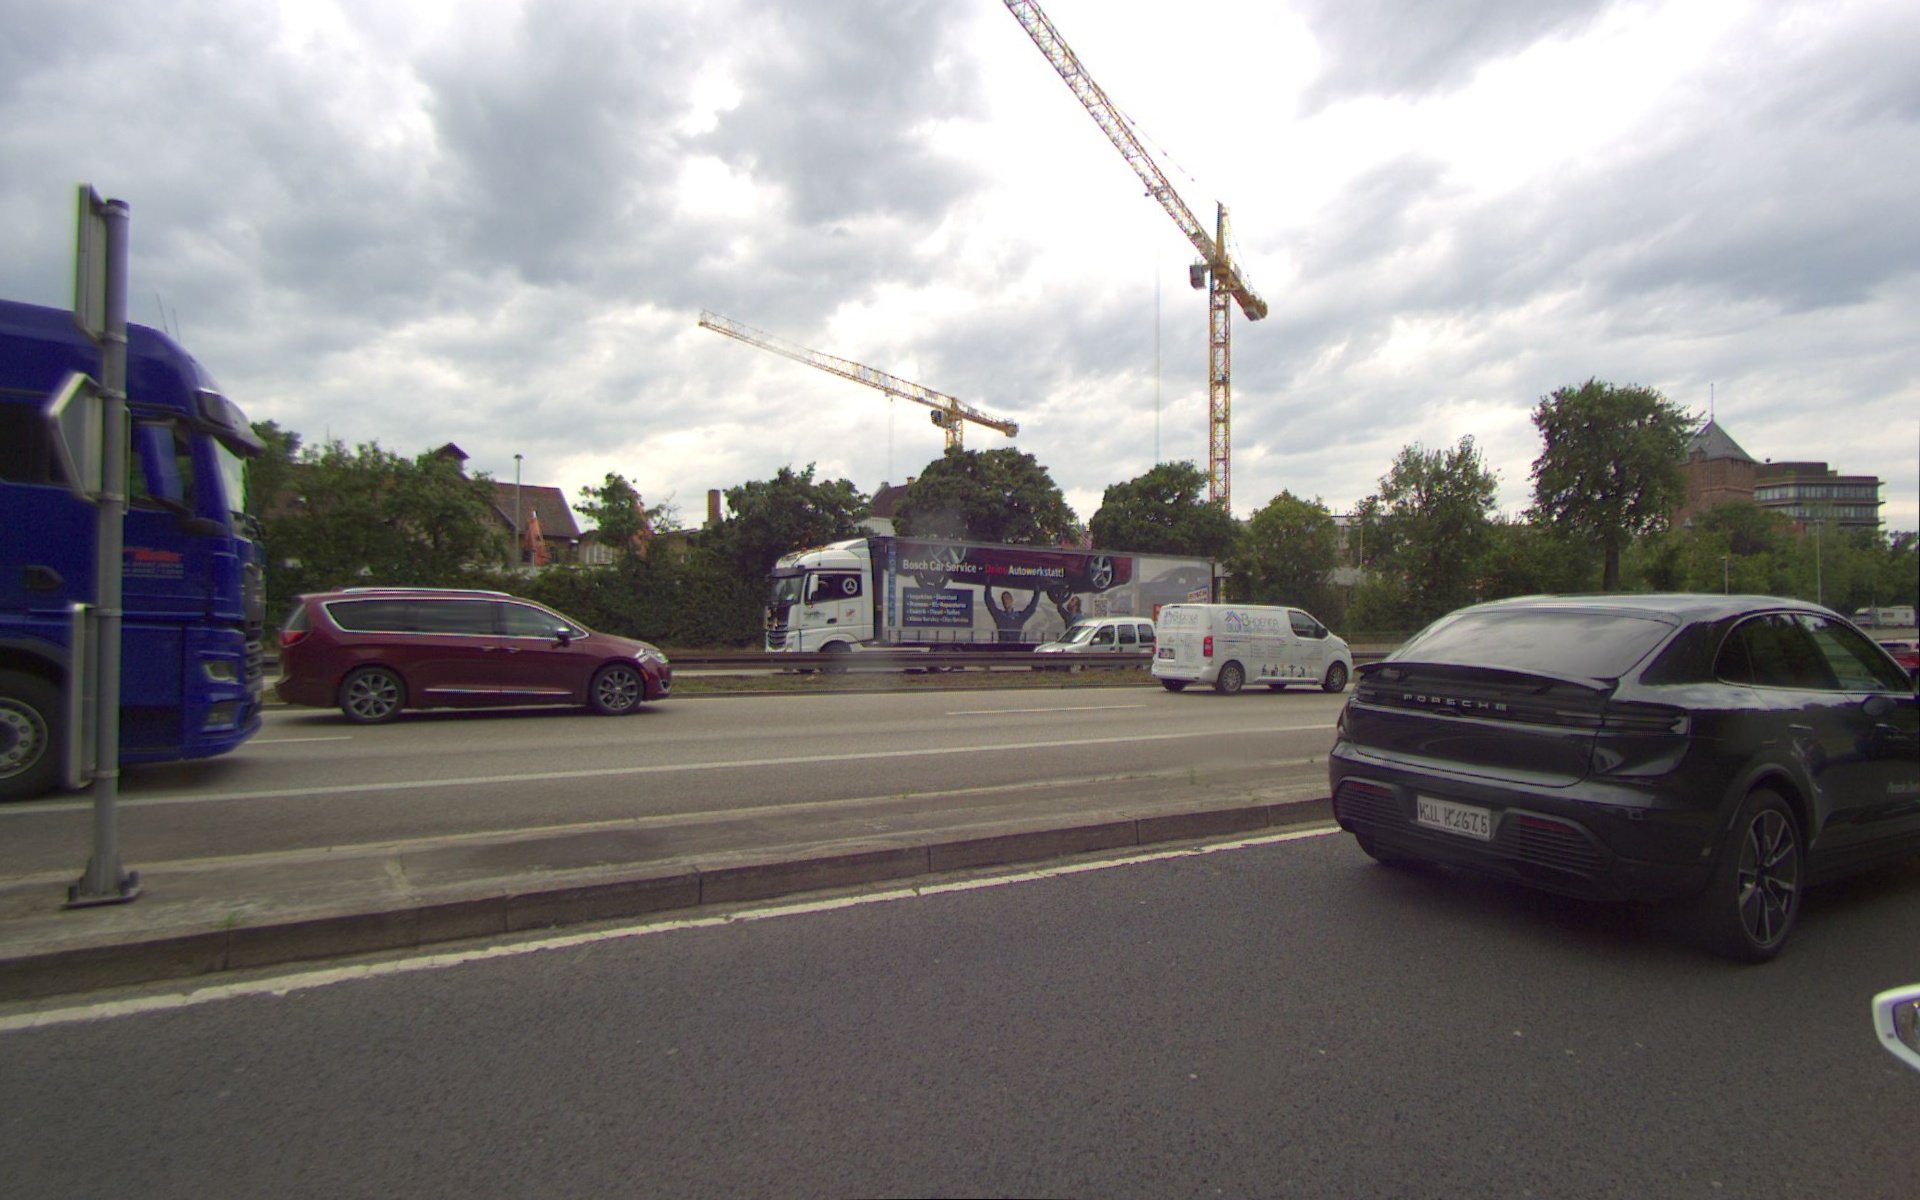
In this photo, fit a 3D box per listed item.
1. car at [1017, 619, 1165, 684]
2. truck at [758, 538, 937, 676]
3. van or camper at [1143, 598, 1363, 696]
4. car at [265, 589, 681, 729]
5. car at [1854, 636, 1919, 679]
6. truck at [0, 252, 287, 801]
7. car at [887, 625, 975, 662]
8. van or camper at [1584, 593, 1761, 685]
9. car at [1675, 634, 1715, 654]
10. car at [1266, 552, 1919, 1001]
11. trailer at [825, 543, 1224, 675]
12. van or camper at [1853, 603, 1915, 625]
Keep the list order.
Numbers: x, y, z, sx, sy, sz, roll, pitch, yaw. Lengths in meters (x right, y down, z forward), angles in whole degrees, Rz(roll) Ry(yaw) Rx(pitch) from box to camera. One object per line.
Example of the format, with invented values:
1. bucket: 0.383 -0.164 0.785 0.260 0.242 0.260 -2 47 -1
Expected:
1. car: 3.877 1.469 29.581 3.953 1.789 1.984 1 -1 -30
2. truck: -3.382 0.262 30.228 4.722 3.818 2.580 1 -1 -31
3. van or camper: 6.482 1.002 22.104 4.794 1.945 1.911 1 -1 -31
4. car: -6.712 0.776 14.271 5.025 1.700 1.776 1 -1 -31
5. car: 39.385 2.351 41.989 4.258 1.703 1.880 1 -1 -32
6. truck: -8.879 -0.550 7.770 5.859 4.014 2.655 1 -1 -31
7. car: -1.156 1.766 40.959 3.382 1.425 1.327 1 -1 -32
8. van or camper: 22.619 1.213 31.763 6.877 2.656 2.039 1 -1 -31
9. car: 55.492 3.312 75.821 3.138 1.393 1.327 1 -1 -32
10. car: 4.145 0.735 5.806 4.697 1.685 1.892 2 -2 -30
11. trailer: 2.699 0.428 33.876 14.555 3.807 2.578 1 -1 -31
12. van or camper: 118.863 1.765 129.293 5.549 2.672 1.922 2 0 16
